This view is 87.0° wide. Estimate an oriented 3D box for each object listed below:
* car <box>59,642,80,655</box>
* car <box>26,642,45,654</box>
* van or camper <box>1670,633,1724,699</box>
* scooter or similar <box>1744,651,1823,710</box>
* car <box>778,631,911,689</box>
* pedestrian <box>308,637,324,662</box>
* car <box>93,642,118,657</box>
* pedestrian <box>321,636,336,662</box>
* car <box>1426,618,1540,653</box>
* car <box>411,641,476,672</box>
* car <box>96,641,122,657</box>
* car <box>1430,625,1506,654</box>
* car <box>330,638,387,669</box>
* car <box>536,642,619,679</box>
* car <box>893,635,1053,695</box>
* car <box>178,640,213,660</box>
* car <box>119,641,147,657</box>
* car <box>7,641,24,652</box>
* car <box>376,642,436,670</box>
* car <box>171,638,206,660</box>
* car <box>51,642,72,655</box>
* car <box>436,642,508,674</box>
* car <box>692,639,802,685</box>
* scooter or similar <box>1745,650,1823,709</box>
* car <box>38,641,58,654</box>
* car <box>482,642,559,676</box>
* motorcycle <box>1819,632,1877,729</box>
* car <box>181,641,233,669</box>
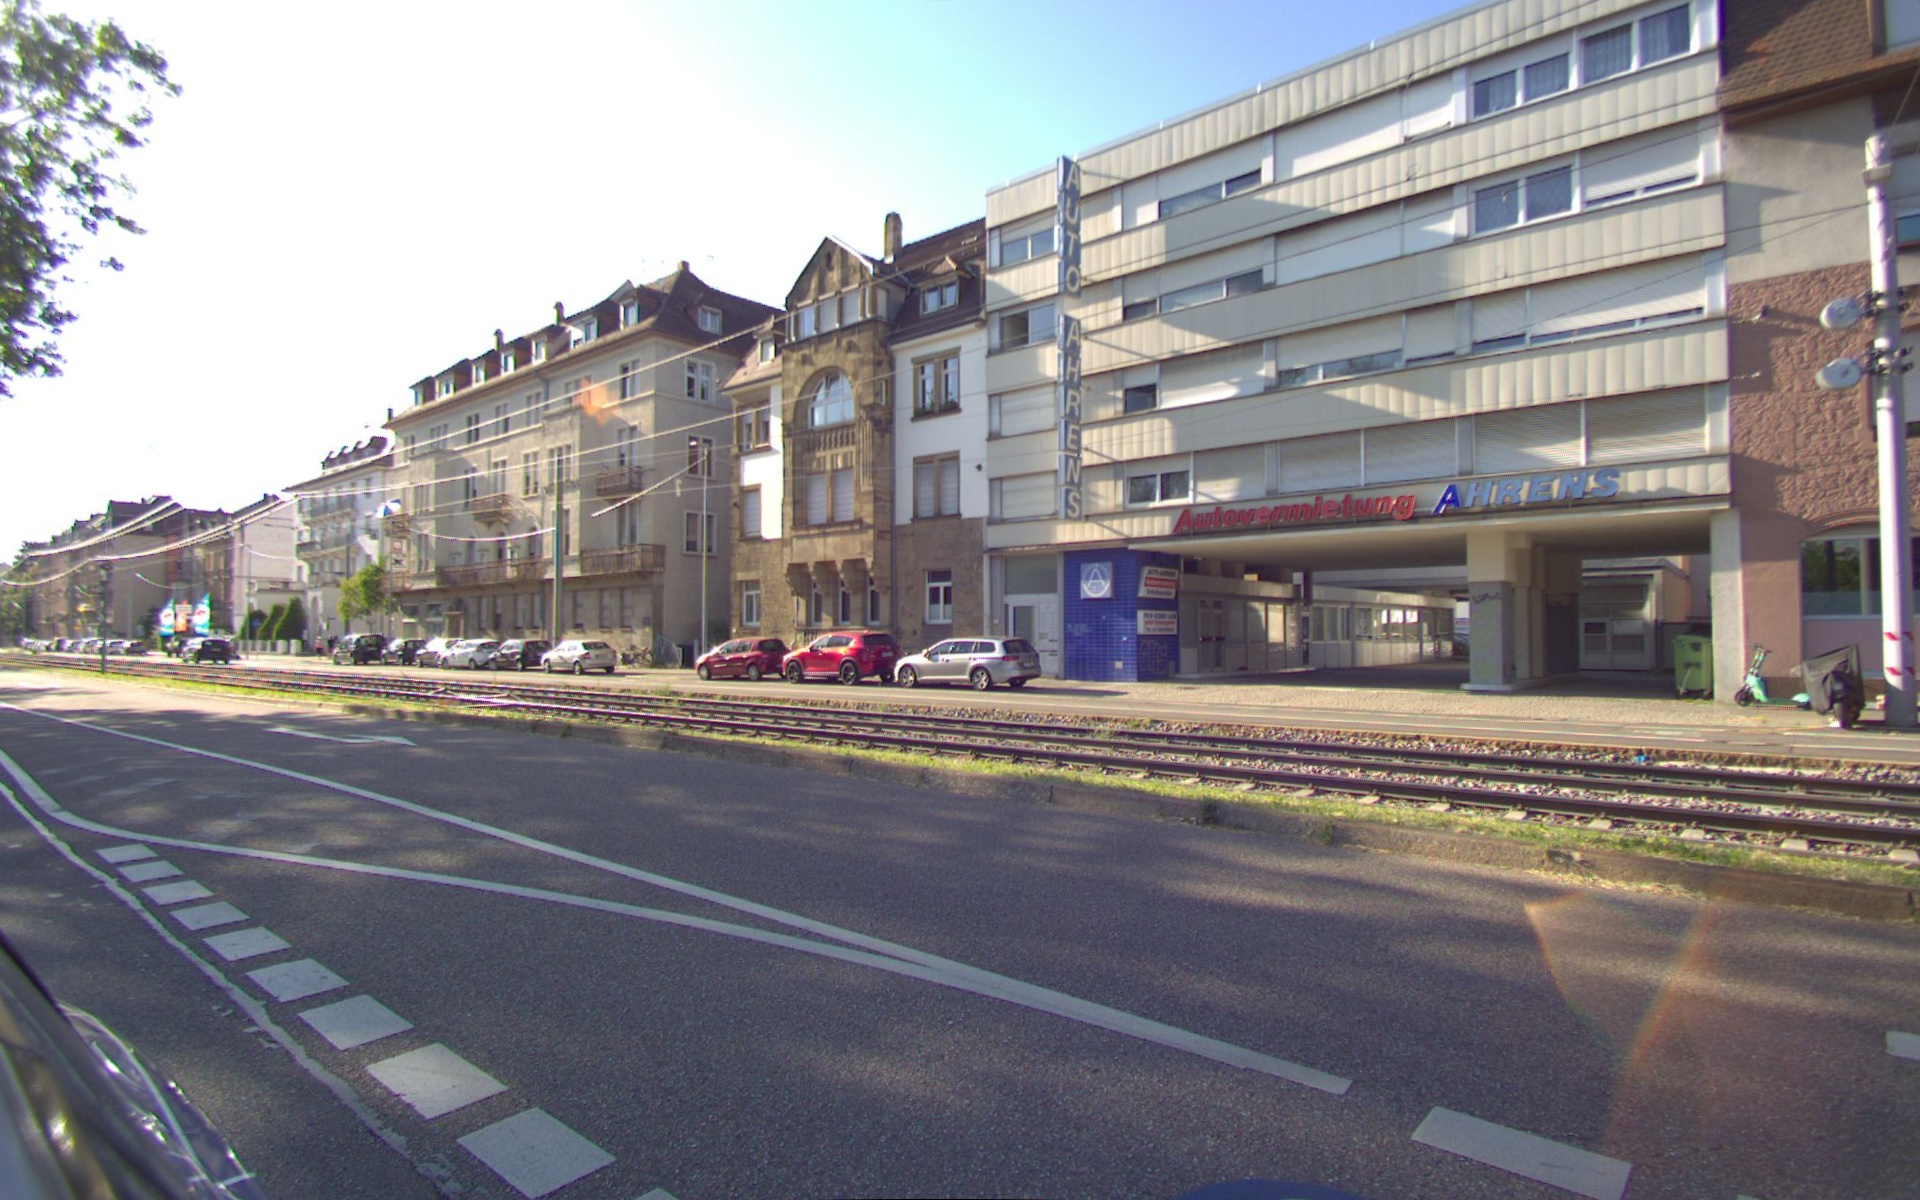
[{"bbox_3d":[-112.456,6.141,127.813,3.448,1.602,1.603,-2,-1,41],"label":"car"},{"bbox_3d":[-130.253,6.812,142.549,3.448,1.602,1.603,-2,-1,41],"label":"car"},{"bbox_3d":[15.830,1.404,21.734,0.803,1.368,1.410,-2,-3,40],"label":"van or camper"},{"bbox_3d":[15.601,1.512,19.193,1.121,1.077,0.202,-3,-2,42],"label":"scooter or similar"},{"bbox_3d":[-3.741,1.882,32.410,4.261,1.700,1.836,-2,-1,42],"label":"car"},{"bbox_3d":[-46.286,3.563,72.735,0.677,1.803,0.716,-2,-3,40],"label":"pedestrian"},{"bbox_3d":[-94.422,5.476,111.846,3.448,1.602,1.603,-2,-1,41],"label":"car"},{"bbox_3d":[-45.679,3.537,73.212,0.677,1.803,0.716,-2,-3,40],"label":"pedestrian"},{"bbox_3d":[35.808,2.457,69.480,6.595,2.275,2.330,-2,-3,40],"label":"car"},{"bbox_3d":[-27.242,2.964,53.340,3.821,1.490,1.778,-2,-2,41],"label":"car"},{"bbox_3d":[-90.407,5.188,107.538,3.448,1.602,1.603,-2,-1,41],"label":"car"},{"bbox_3d":[33.727,2.628,67.235,4.119,1.825,1.869,-2,-3,40],"label":"car"},{"bbox_3d":[-36.000,3.193,60.566,3.914,1.750,1.851,-2,-2,41],"label":"car"},{"bbox_3d":[-16.531,2.578,43.665,3.821,1.490,1.778,-2,-2,41],"label":"car"},{"bbox_3d":[0.318,1.812,28.921,4.378,1.510,1.837,-2,-1,40],"label":"car"},{"bbox_3d":[-64.137,4.215,84.914,3.386,1.583,1.662,-2,-1,41],"label":"car"},{"bbox_3d":[-83.172,4.900,101.764,3.448,1.602,1.603,-2,-1,41],"label":"car"},{"bbox_3d":[-150.178,7.357,160.927,3.448,1.602,1.603,-2,-1,41],"label":"car"},{"bbox_3d":[-31.470,3.137,57.453,3.821,1.490,1.778,-2,-2,41],"label":"car"},{"bbox_3d":[-67.482,4.252,88.503,3.879,1.800,1.705,-2,-1,41],"label":"car"},{"bbox_3d":[-116.304,6.288,130.940,3.448,1.602,1.603,-2,-1,41],"label":"car"},{"bbox_3d":[-23.932,2.839,49.628,3.530,1.457,1.624,-2,-1,34],"label":"car"},{"bbox_3d":[-7.559,2.167,35.765,3.721,1.507,1.736,-2,-1,35],"label":"car"},{"bbox_3d":[15.773,1.510,19.379,1.121,1.077,0.202,-3,-2,42],"label":"scooter or similar"},{"bbox_3d":[-122.348,6.372,135.702,3.448,1.602,1.603,-2,-1,41],"label":"car"},{"bbox_3d":[-20.538,2.720,47.247,3.819,1.441,1.780,-2,-2,39],"label":"car"},{"bbox_3d":[14.474,1.278,16.516,0.628,1.433,1.836,-3,-2,41],"label":"motorcycle"},{"bbox_3d":[-47.172,3.430,63.365,3.998,1.697,1.798,-2,-3,41],"label":"car"}]
